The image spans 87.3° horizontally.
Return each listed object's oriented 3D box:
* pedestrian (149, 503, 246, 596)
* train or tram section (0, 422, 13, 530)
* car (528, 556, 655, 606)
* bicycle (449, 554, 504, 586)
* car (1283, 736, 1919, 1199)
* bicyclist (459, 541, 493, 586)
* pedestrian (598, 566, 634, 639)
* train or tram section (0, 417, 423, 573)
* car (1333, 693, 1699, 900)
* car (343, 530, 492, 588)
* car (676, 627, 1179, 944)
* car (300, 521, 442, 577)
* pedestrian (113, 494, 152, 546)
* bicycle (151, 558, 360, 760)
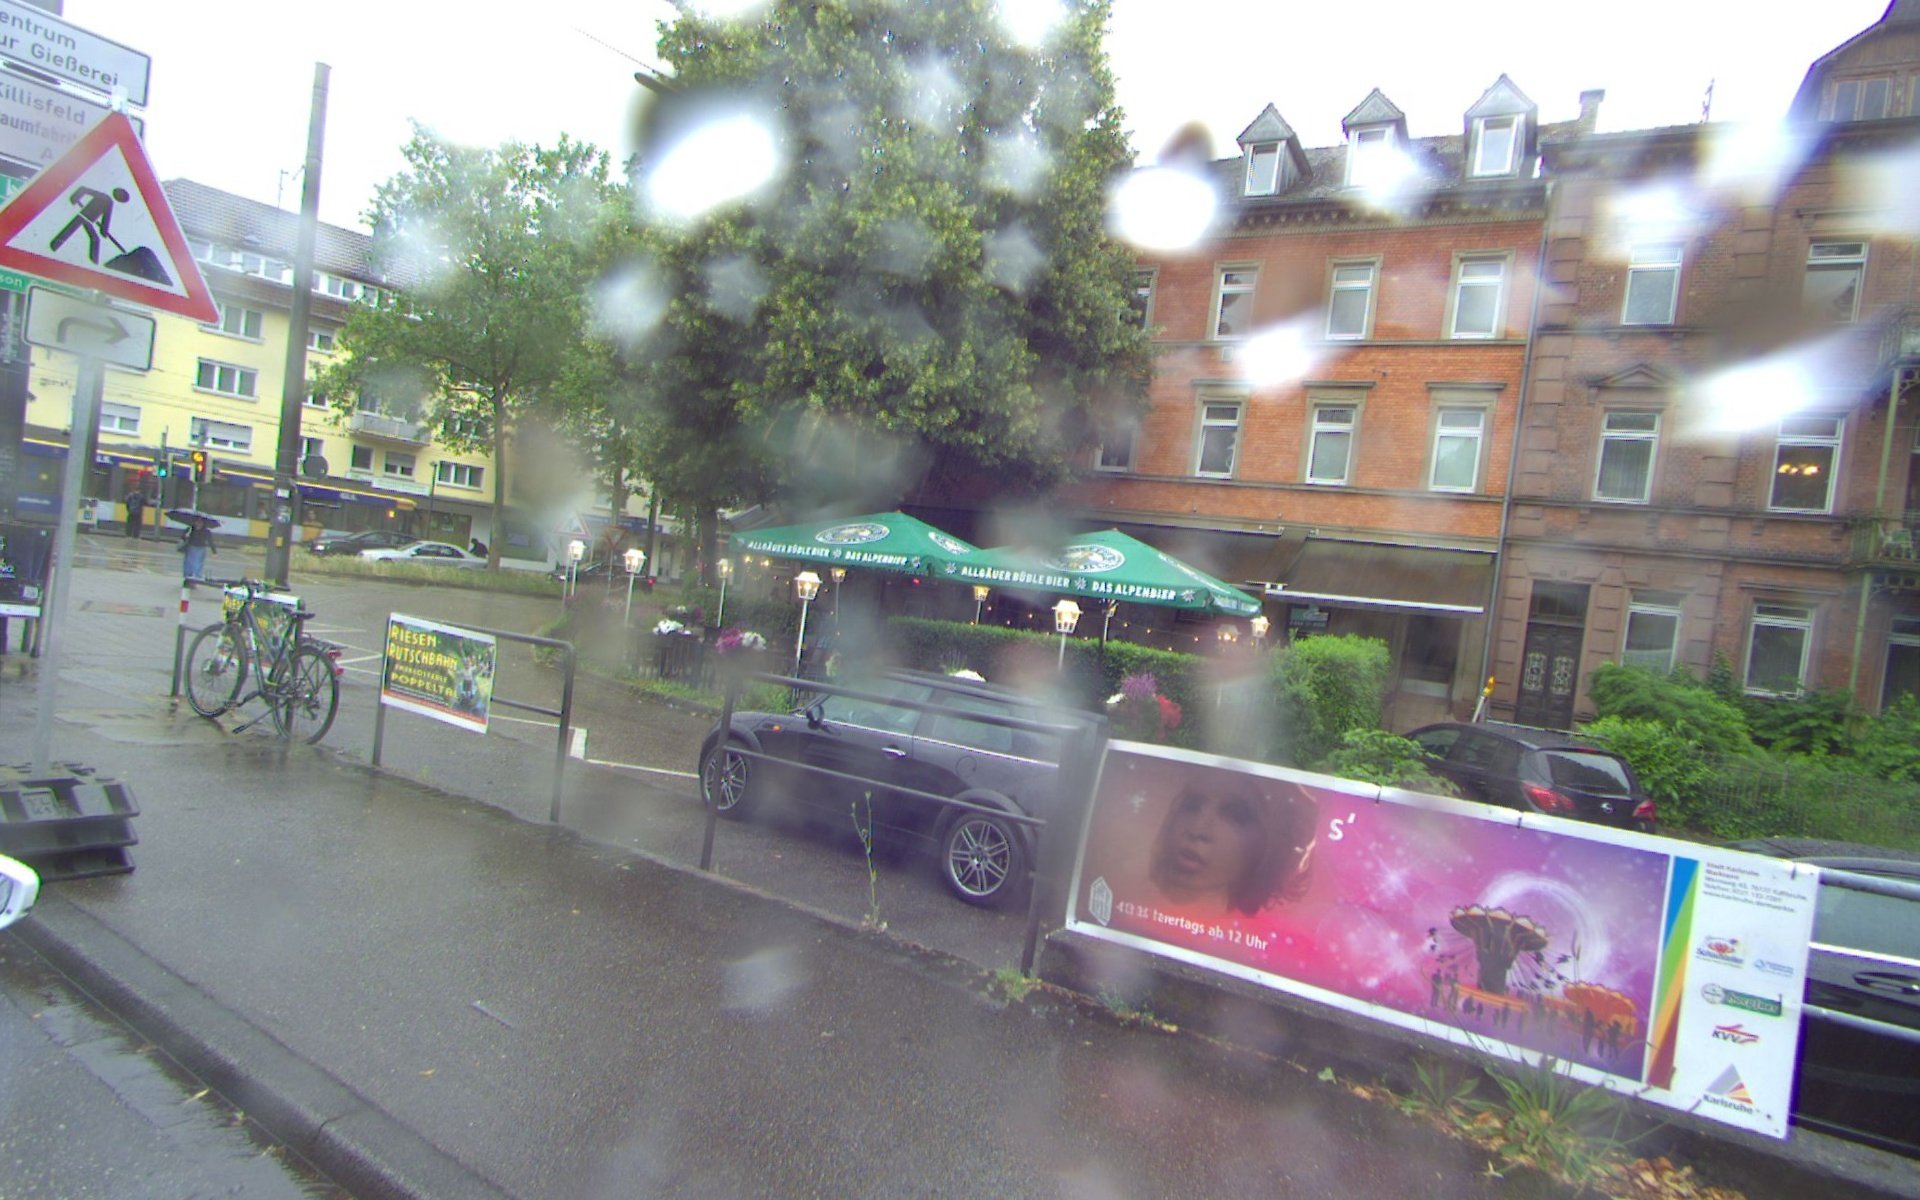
[{"bbox_3d":[-15.516,-1.006,20.511,1.089,1.687,0.995,8,0,-14],"label":"pedestrian"},{"bbox_3d":[-34.994,-4.615,26.967,3.057,3.600,14.588,8,-1,12],"label":"train or tram section"},{"bbox_3d":[-15.499,-0.790,42.492,4.612,1.504,1.838,7,1,-45],"label":"car"},{"bbox_3d":[-20.157,-1.247,41.958,0.710,1.044,1.808,8,-1,42],"label":"bicycle"},{"bbox_3d":[4.005,1.826,4.988,4.146,1.481,1.749,8,0,32],"label":"car"},{"bbox_3d":[-20.169,-1.525,41.905,0.704,1.737,0.886,8,0,42],"label":"bicyclist"},{"bbox_3d":[-8.154,0.060,23.855,0.382,1.667,0.549,8,3,33],"label":"pedestrian"},{"bbox_3d":[-29.639,-3.850,40.001,3.066,3.600,14.640,8,0,34],"label":"train or tram section"},{"bbox_3d":[6.411,2.193,12.231,1.828,1.526,3.997,8,-1,-5],"label":"car"},{"bbox_3d":[-19.932,-1.484,37.098,1.717,1.508,4.474,9,1,45],"label":"car"},{"bbox_3d":[-0.322,1.251,7.841,3.459,1.518,1.649,8,-1,34],"label":"car"},{"bbox_3d":[-22.593,-1.932,38.713,1.853,1.520,4.264,8,1,40],"label":"car"},{"bbox_3d":[-29.617,-2.861,36.015,0.806,1.698,1.008,7,1,-32],"label":"pedestrian"},{"bbox_3d":[-5.172,0.397,7.347,1.762,1.182,0.423,8,-1,30],"label":"bicycle"}]
